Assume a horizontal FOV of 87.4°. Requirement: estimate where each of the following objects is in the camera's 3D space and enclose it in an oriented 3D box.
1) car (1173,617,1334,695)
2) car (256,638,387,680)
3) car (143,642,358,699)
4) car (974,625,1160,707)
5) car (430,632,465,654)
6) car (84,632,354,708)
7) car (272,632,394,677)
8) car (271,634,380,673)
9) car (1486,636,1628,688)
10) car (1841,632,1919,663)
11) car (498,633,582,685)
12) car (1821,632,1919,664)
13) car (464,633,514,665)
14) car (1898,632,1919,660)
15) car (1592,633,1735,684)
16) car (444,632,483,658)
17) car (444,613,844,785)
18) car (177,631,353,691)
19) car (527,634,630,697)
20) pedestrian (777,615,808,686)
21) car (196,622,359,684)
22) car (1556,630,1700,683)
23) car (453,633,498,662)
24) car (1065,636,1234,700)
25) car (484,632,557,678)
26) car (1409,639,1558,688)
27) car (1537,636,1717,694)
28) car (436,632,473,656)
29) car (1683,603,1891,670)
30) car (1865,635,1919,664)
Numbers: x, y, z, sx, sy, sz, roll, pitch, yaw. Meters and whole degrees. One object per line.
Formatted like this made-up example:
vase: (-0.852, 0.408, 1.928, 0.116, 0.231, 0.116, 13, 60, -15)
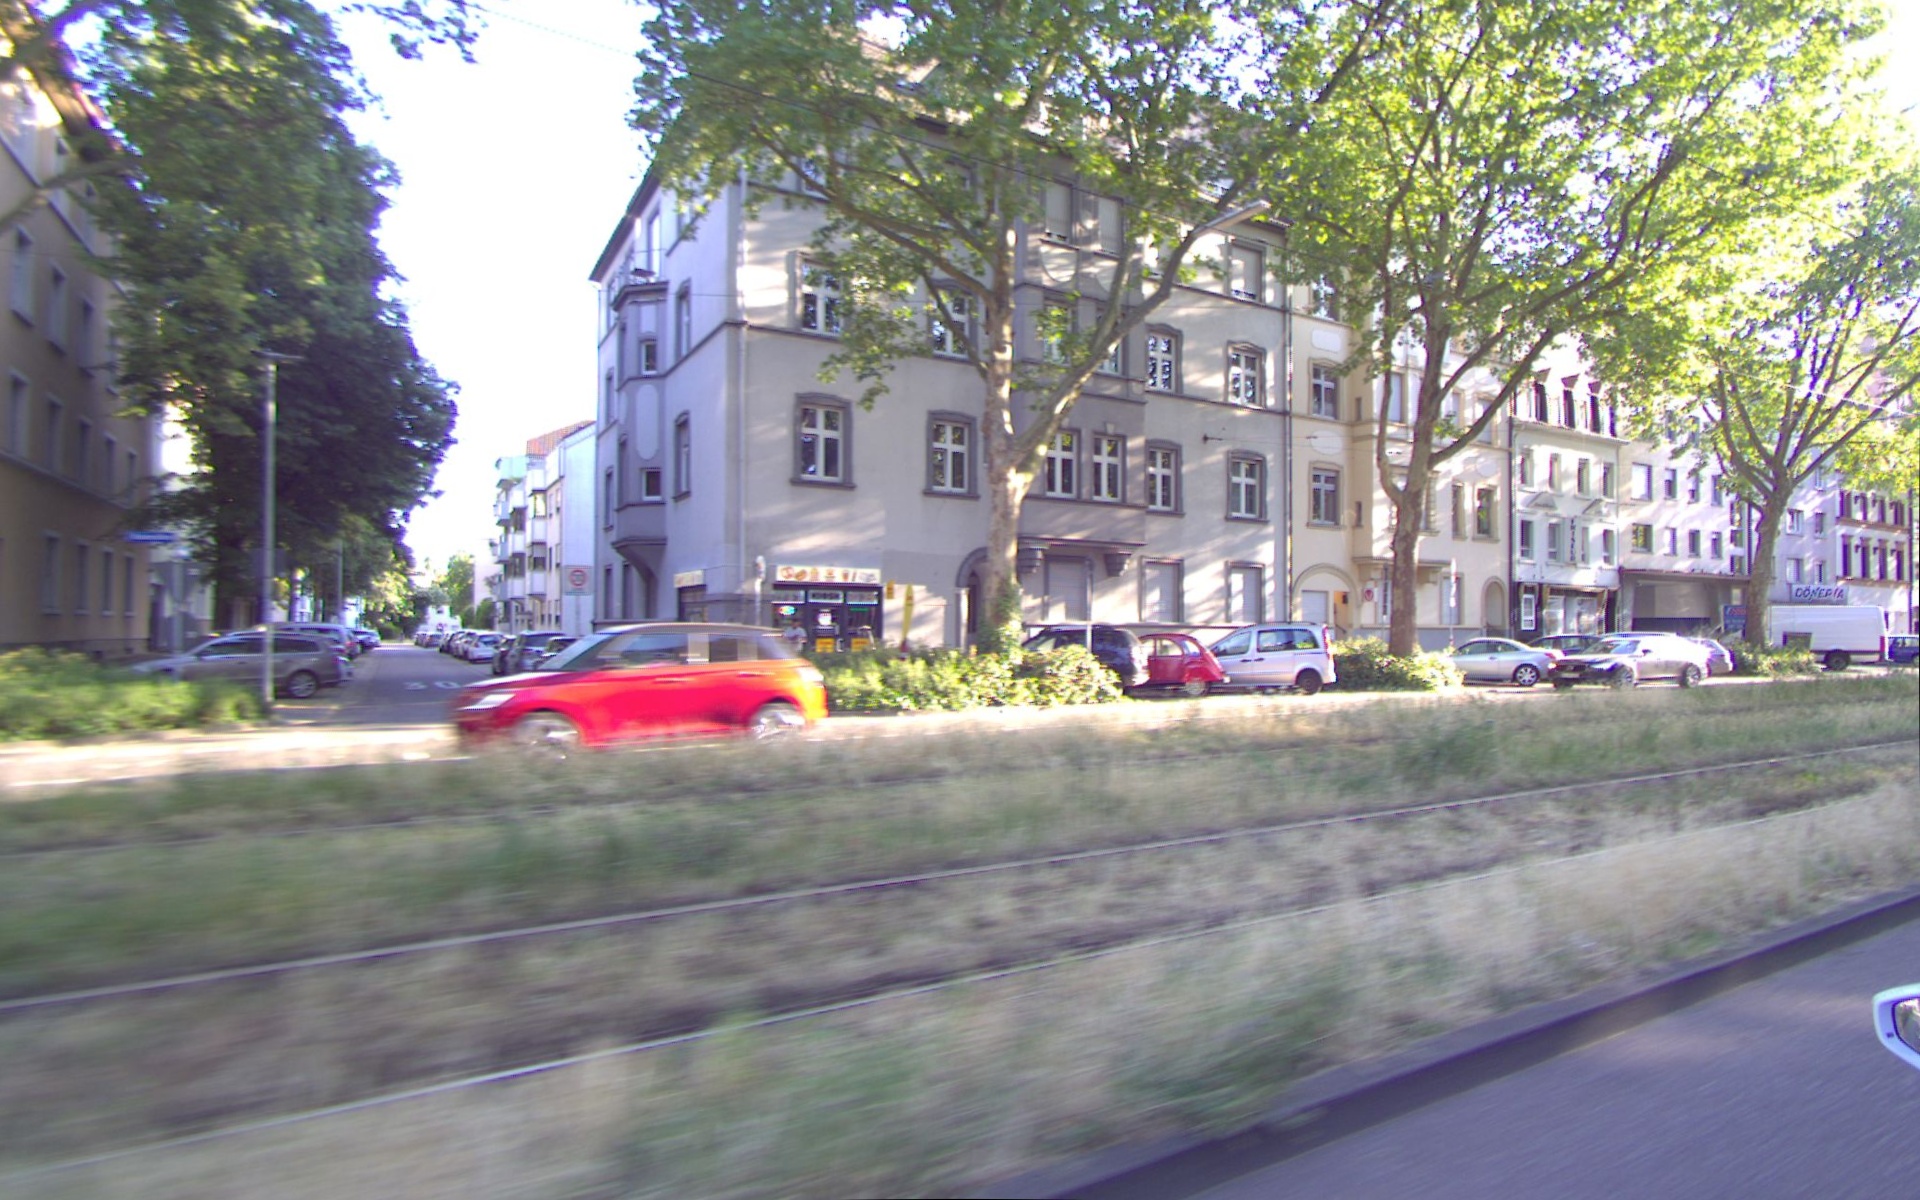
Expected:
car: (7.689, 1.443, 26.565, 3.919, 1.906, 2.001, 0, -2, 15)
car: (-27.306, 2.474, 43.073, 1.769, 1.704, 4.398, -2, -2, 39)
car: (-18.962, 1.836, 27.069, 1.764, 1.354, 4.410, -1, -2, 29)
car: (2.471, 1.470, 23.123, 3.922, 1.746, 1.784, 0, -2, 21)
car: (-36.404, 3.053, 71.306, 1.795, 1.528, 3.965, 1, -2, -32)
car: (-16.424, 1.542, 22.553, 1.764, 1.522, 4.524, -1, -4, 29)
car: (-28.486, 2.423, 45.757, 1.769, 1.957, 4.398, -2, -2, 39)
car: (-31.151, 2.600, 49.386, 1.769, 1.844, 4.177, -2, -2, 39)
car: (19.865, 2.076, 33.641, 3.928, 1.573, 1.853, -4, -3, 28)
car: (46.483, 2.364, 49.662, 4.245, 1.477, 1.851, -1, -3, 38)
car: (-13.334, 1.823, 31.783, 1.795, 1.528, 3.965, 1, -2, -32)
car: (44.393, 2.303, 48.267, 1.840, 1.477, 4.270, 2, -2, -35)
car: (-23.429, 2.399, 49.915, 1.795, 1.528, 3.965, 1, -2, -32)
car: (52.915, 2.486, 53.258, 4.227, 1.477, 1.859, 0, -2, 20)
car: (25.471, 2.099, 36.538, 3.922, 1.721, 1.856, 0, -2, 22)
car: (-30.892, 2.782, 62.448, 1.795, 1.528, 3.965, 1, -2, -32)
car: (-3.448, 0.977, 11.120, 3.953, 1.594, 1.782, 1, -2, -30)
car: (-21.720, 1.857, 31.527, 1.733, 1.732, 4.217, -2, -2, 39)
car: (-10.149, 1.663, 26.554, 1.795, 1.528, 3.965, 1, -2, -32)
pedestrian: (-4.276, 1.280, 25.621, 0.664, 1.782, 0.625, 0, -2, -25)
car: (-23.159, 1.758, 34.187, 4.385, 1.957, 1.774, 2, -2, -42)
car: (23.029, 1.964, 34.814, 3.928, 1.721, 1.854, -3, -3, 28)
car: (-26.674, 2.562, 55.214, 1.795, 1.528, 3.965, 1, -2, -32)
car: (4.727, 1.653, 25.061, 3.922, 1.467, 1.586, 0, -2, 21)
car: (-15.703, 1.909, 35.774, 1.795, 1.528, 3.965, 1, -2, -32)
car: (15.901, 1.891, 30.640, 3.927, 1.374, 1.584, 0, -2, 29)
car: (18.433, 1.771, 27.749, 4.853, 1.479, 1.742, 2, -2, -22)
car: (-33.723, 2.921, 66.941, 1.795, 1.528, 3.965, 1, -2, -32)
car: (35.829, 1.570, 43.837, 6.854, 2.713, 2.176, -1, -3, 40)
car: (49.840, 2.569, 51.867, 4.227, 1.477, 1.859, 0, -2, 20)
